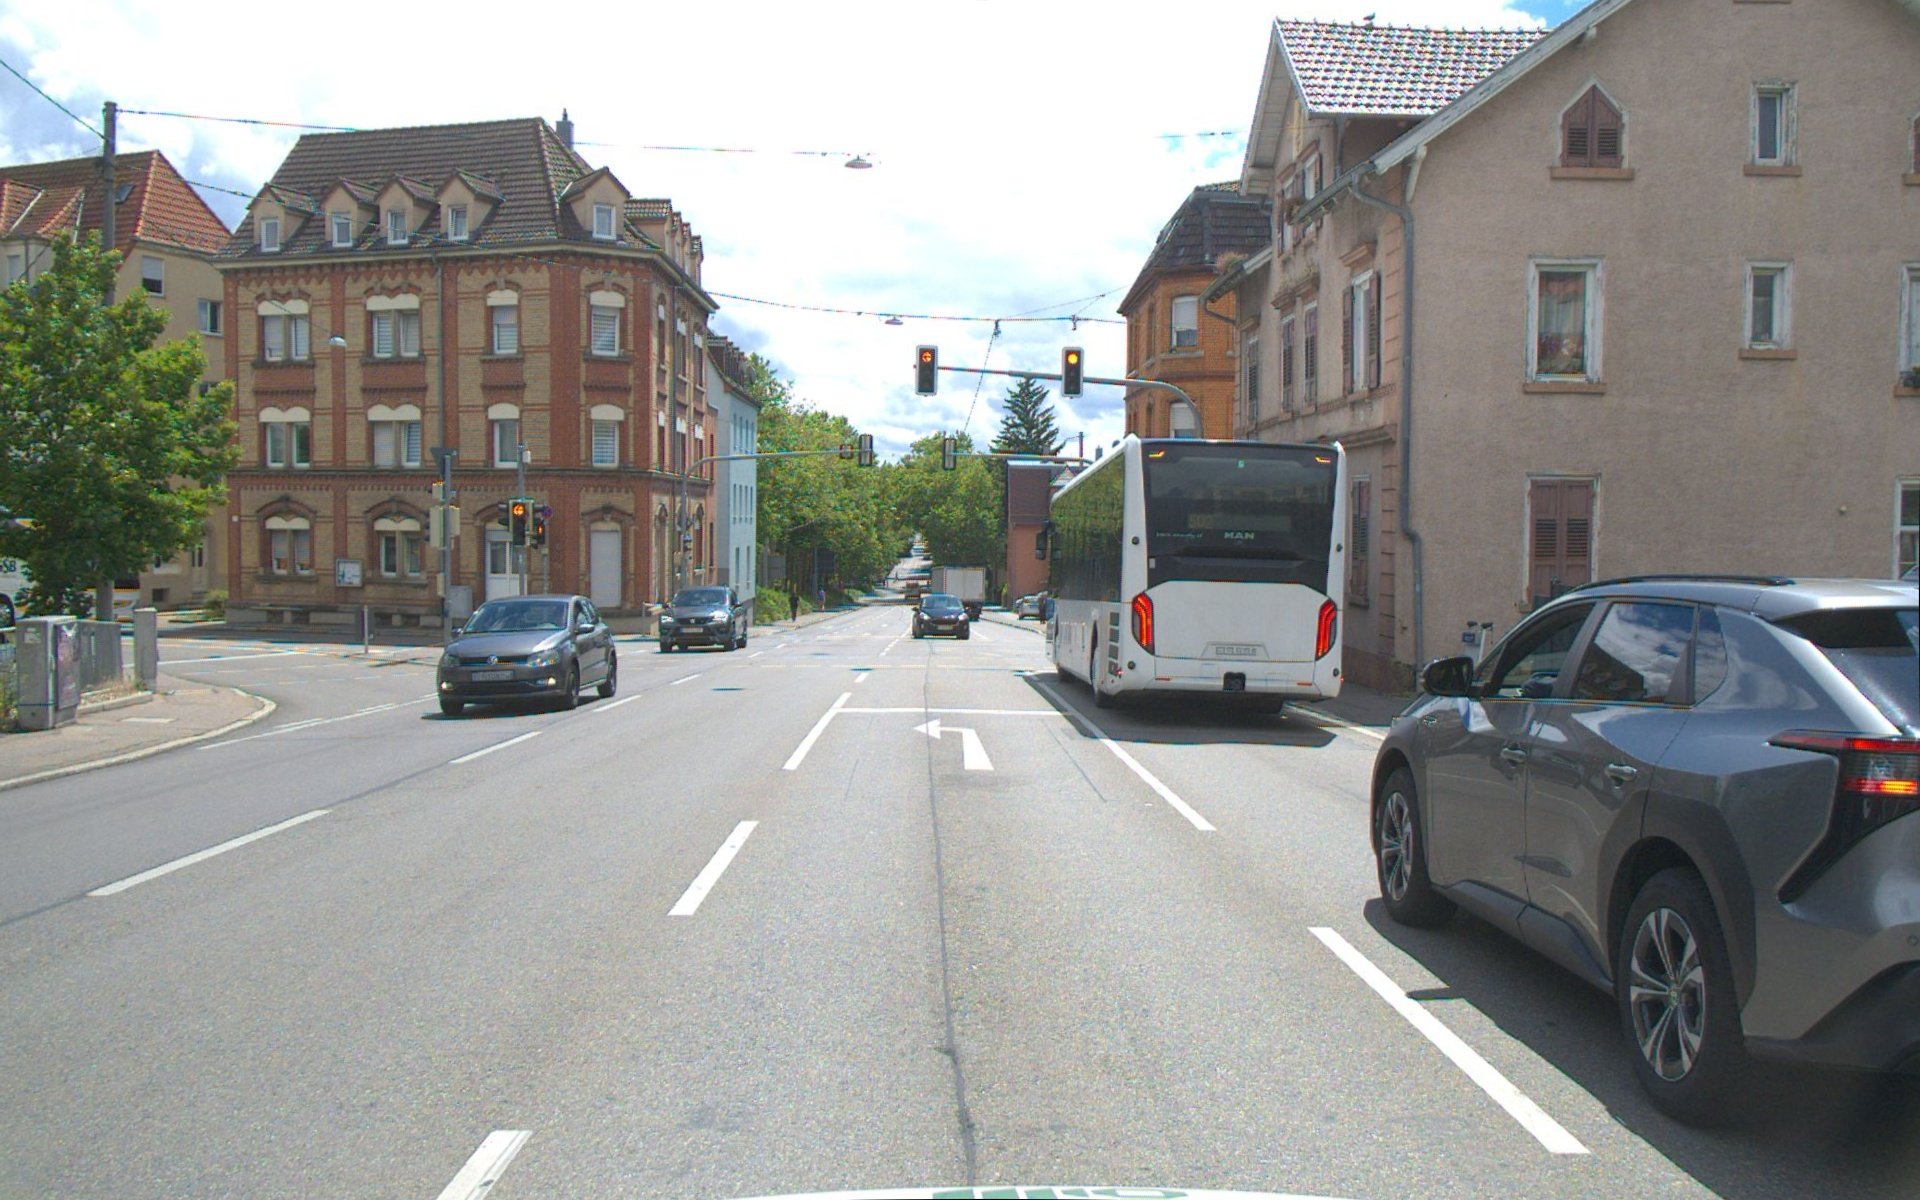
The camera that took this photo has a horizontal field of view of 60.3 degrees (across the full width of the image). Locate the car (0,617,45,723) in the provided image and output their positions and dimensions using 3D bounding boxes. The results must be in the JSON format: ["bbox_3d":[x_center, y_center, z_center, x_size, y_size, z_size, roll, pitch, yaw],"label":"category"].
[{"bbox_3d":[-16.358,1.088,26.342,3.291,1.588,1.679,1,2,30],"label":"car"}]

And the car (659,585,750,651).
[{"bbox_3d":[-6.359,0.408,41.527,1.723,1.548,3.957,-1,1,-1],"label":"car"}]

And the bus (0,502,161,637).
[{"bbox_3d":[-29.306,-1.019,49.314,11.980,3.684,2.770,2,1,24],"label":"bus"}]

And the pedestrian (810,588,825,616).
[{"bbox_3d":[-10.426,0.161,120.819,0.974,2.049,1.188,0,0,-1],"label":"pedestrian"}]

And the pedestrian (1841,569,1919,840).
[{"bbox_3d":[5.977,0.606,10.057,0.841,1.589,0.712,-1,0,-1],"label":"pedestrian"}]

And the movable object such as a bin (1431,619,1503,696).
[{"bbox_3d":[7.068,0.793,23.085,0.760,1.030,0.749,-1,0,-1],"label":"movable object such as a bin"}]

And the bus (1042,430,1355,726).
[{"bbox_3d":[2.920,-0.308,24.285,2.618,3.210,12.460,-1,1,-1],"label":"bus"}]

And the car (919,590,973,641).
[{"bbox_3d":[-0.470,0.480,54.314,1.723,1.543,3.793,-1,1,-1],"label":"car"}]

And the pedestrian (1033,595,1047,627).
[{"bbox_3d":[4.536,0.633,93.886,0.723,1.781,0.619,-1,0,-1],"label":"pedestrian"}]

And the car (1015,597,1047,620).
[{"bbox_3d":[4.651,0.521,108.357,1.758,1.434,3.999,-1,1,-2],"label":"car"}]

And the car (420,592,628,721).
[{"bbox_3d":[-5.572,0.659,21.574,1.723,1.437,3.733,-2,1,-1],"label":"car"}]

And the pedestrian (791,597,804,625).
[{"bbox_3d":[-9.294,0.619,94.707,0.714,1.592,0.560,0,0,-2],"label":"pedestrian"}]

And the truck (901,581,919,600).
[{"bbox_3d":[-5.762,-1.079,189.827,1.953,2.049,3.999,1,0,-1],"label":"truck"}]

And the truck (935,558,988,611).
[{"bbox_3d":[0.024,-0.951,103.220,2.868,3.135,7.881,-1,0,-3],"label":"truck"}]

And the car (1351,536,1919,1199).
[{"bbox_3d":[3.002,0.671,6.151,1.880,1.641,4.683,2,1,-1],"label":"car"}]
